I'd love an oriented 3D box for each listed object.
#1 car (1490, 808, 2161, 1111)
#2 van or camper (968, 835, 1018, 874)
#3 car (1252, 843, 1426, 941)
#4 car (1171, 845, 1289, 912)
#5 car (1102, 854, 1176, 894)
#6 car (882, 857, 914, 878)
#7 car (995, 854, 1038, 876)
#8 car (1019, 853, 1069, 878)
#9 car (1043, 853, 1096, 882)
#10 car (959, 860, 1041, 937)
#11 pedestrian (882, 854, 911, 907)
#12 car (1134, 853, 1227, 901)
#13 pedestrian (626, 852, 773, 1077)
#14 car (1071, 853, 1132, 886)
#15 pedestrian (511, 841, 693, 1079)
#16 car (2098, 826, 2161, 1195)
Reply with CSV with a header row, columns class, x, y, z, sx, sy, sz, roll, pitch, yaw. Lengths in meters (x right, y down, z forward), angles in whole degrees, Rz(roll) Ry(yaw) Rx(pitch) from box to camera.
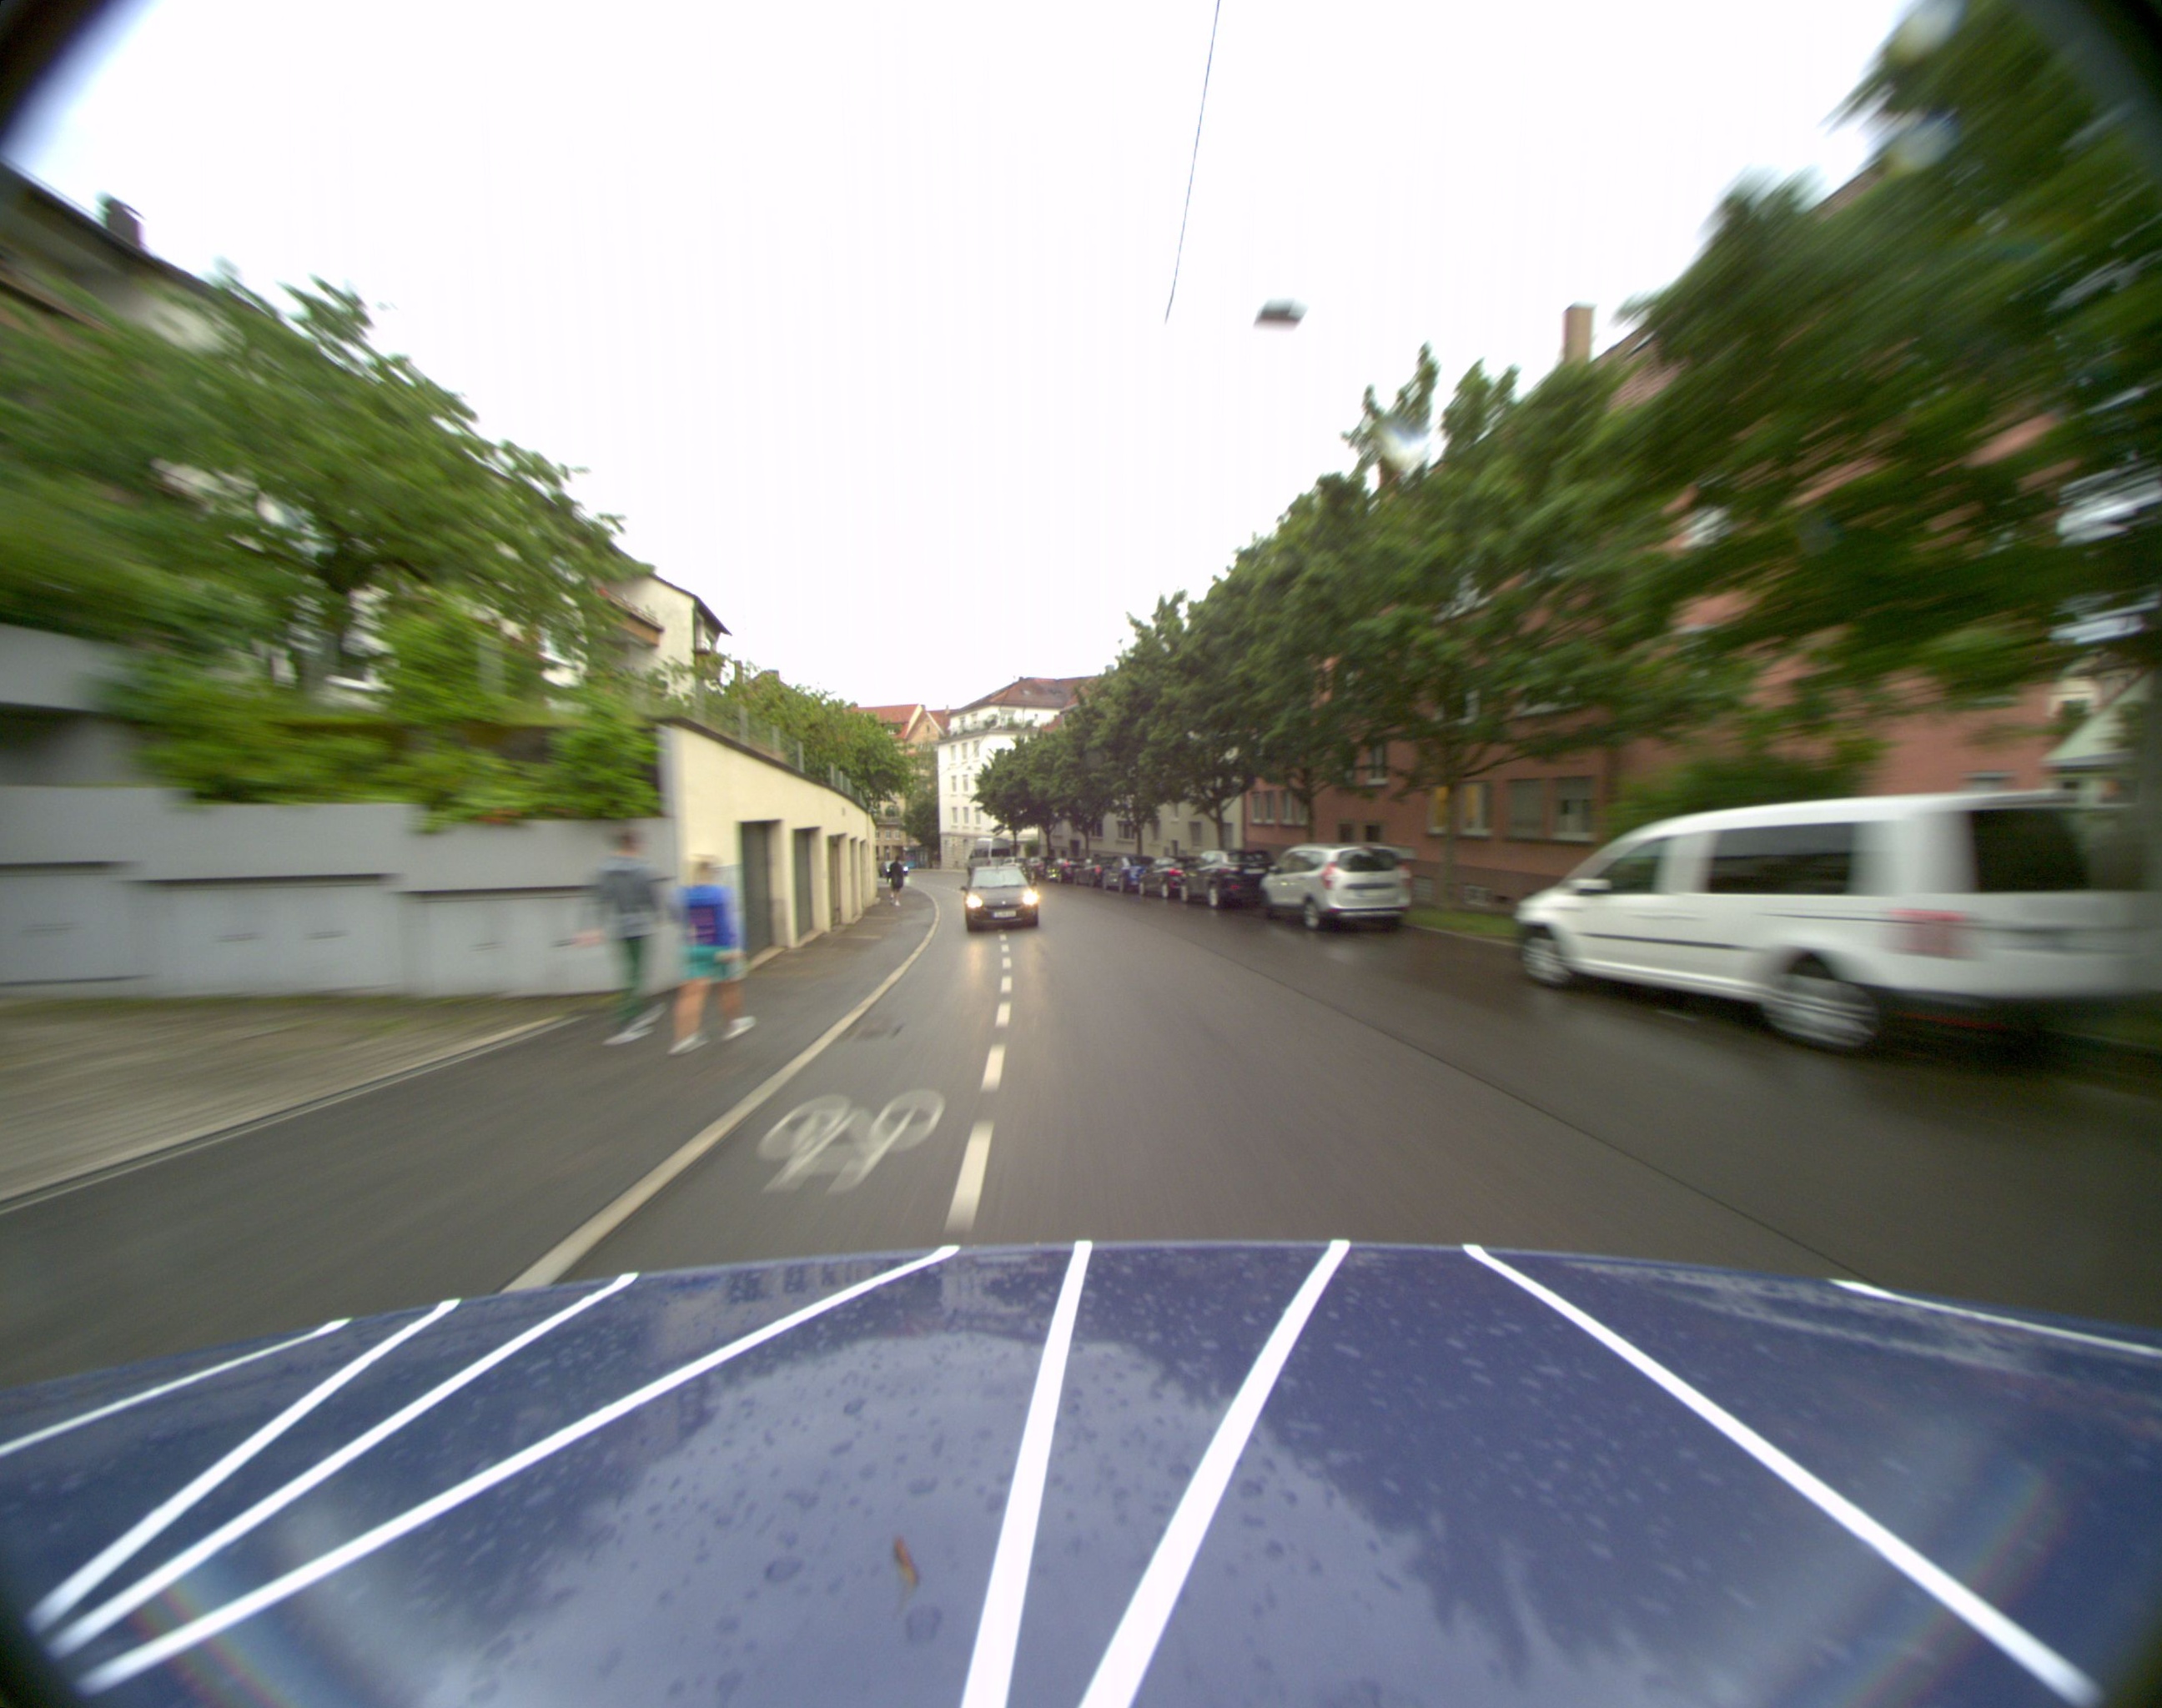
class,x,y,z,sx,sy,sz,roll,pitch,yaw
car,5.923,0.601,6.753,1.859,1.766,4.480,-1,0,-5
van or camper,-6.890,0.034,58.982,2.076,2.843,5.735,-1,0,-26
car,5.106,0.660,15.789,1.752,1.680,4.598,-2,1,-4
car,4.112,0.622,21.806,1.793,1.632,4.476,-4,1,-10
car,2.318,0.774,31.633,1.793,1.484,4.856,-2,1,-11
car,-16.275,1.148,67.406,1.900,1.686,3.992,-5,2,-24
car,-4.629,0.752,53.677,1.593,1.401,4.038,-2,1,-27
car,-2.392,0.702,48.177,1.795,1.484,4.490,-1,0,-21
car,-0.717,0.708,43.237,1.794,1.485,4.638,-3,1,-16
car,-2.009,1.014,18.993,1.699,1.456,3.997,-5,2,-6
pedestrian,-6.615,0.941,27.246,0.902,1.840,0.802,-2,1,-9
car,3.379,0.746,26.762,1.793,1.484,4.356,-2,1,-13
pedestrian,-3.201,0.871,6.472,0.777,1.748,1.011,1,1,-4
car,0.943,0.728,37.835,1.794,1.484,4.355,-2,1,-16
pedestrian,-3.996,0.822,6.464,0.778,1.821,1.251,1,0,-4
car,5.796,0.706,1.337,1.859,1.658,4.587,-1,1,-1
